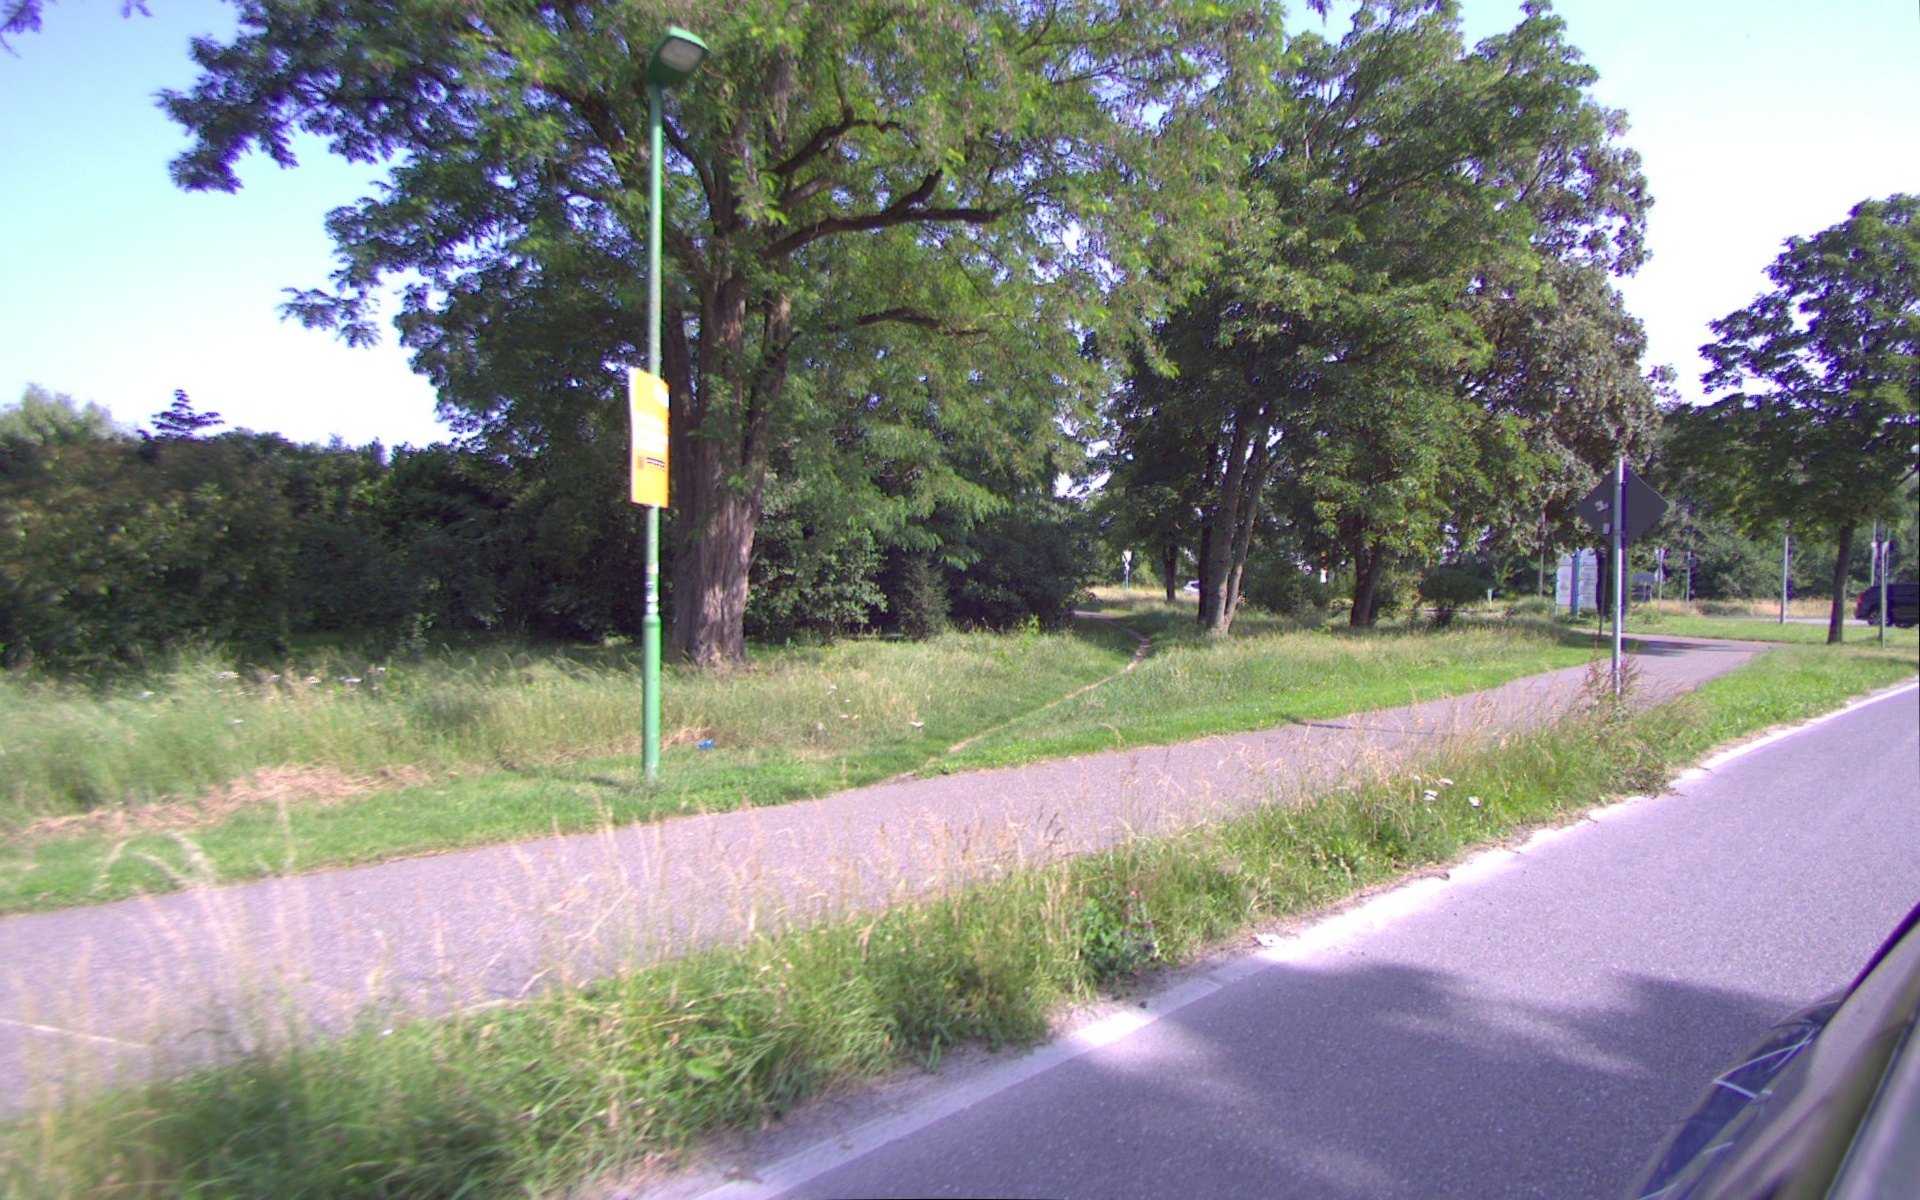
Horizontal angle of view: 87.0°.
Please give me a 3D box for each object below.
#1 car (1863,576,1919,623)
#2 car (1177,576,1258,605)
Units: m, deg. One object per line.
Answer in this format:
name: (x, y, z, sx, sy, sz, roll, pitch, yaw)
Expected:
car: (34.360, 0.001, 34.727, 1.913, 1.621, 4.629, 0, 2, -26)
car: (14.725, -0.563, 58.027, 4.116, 1.569, 1.876, 0, 1, 40)
